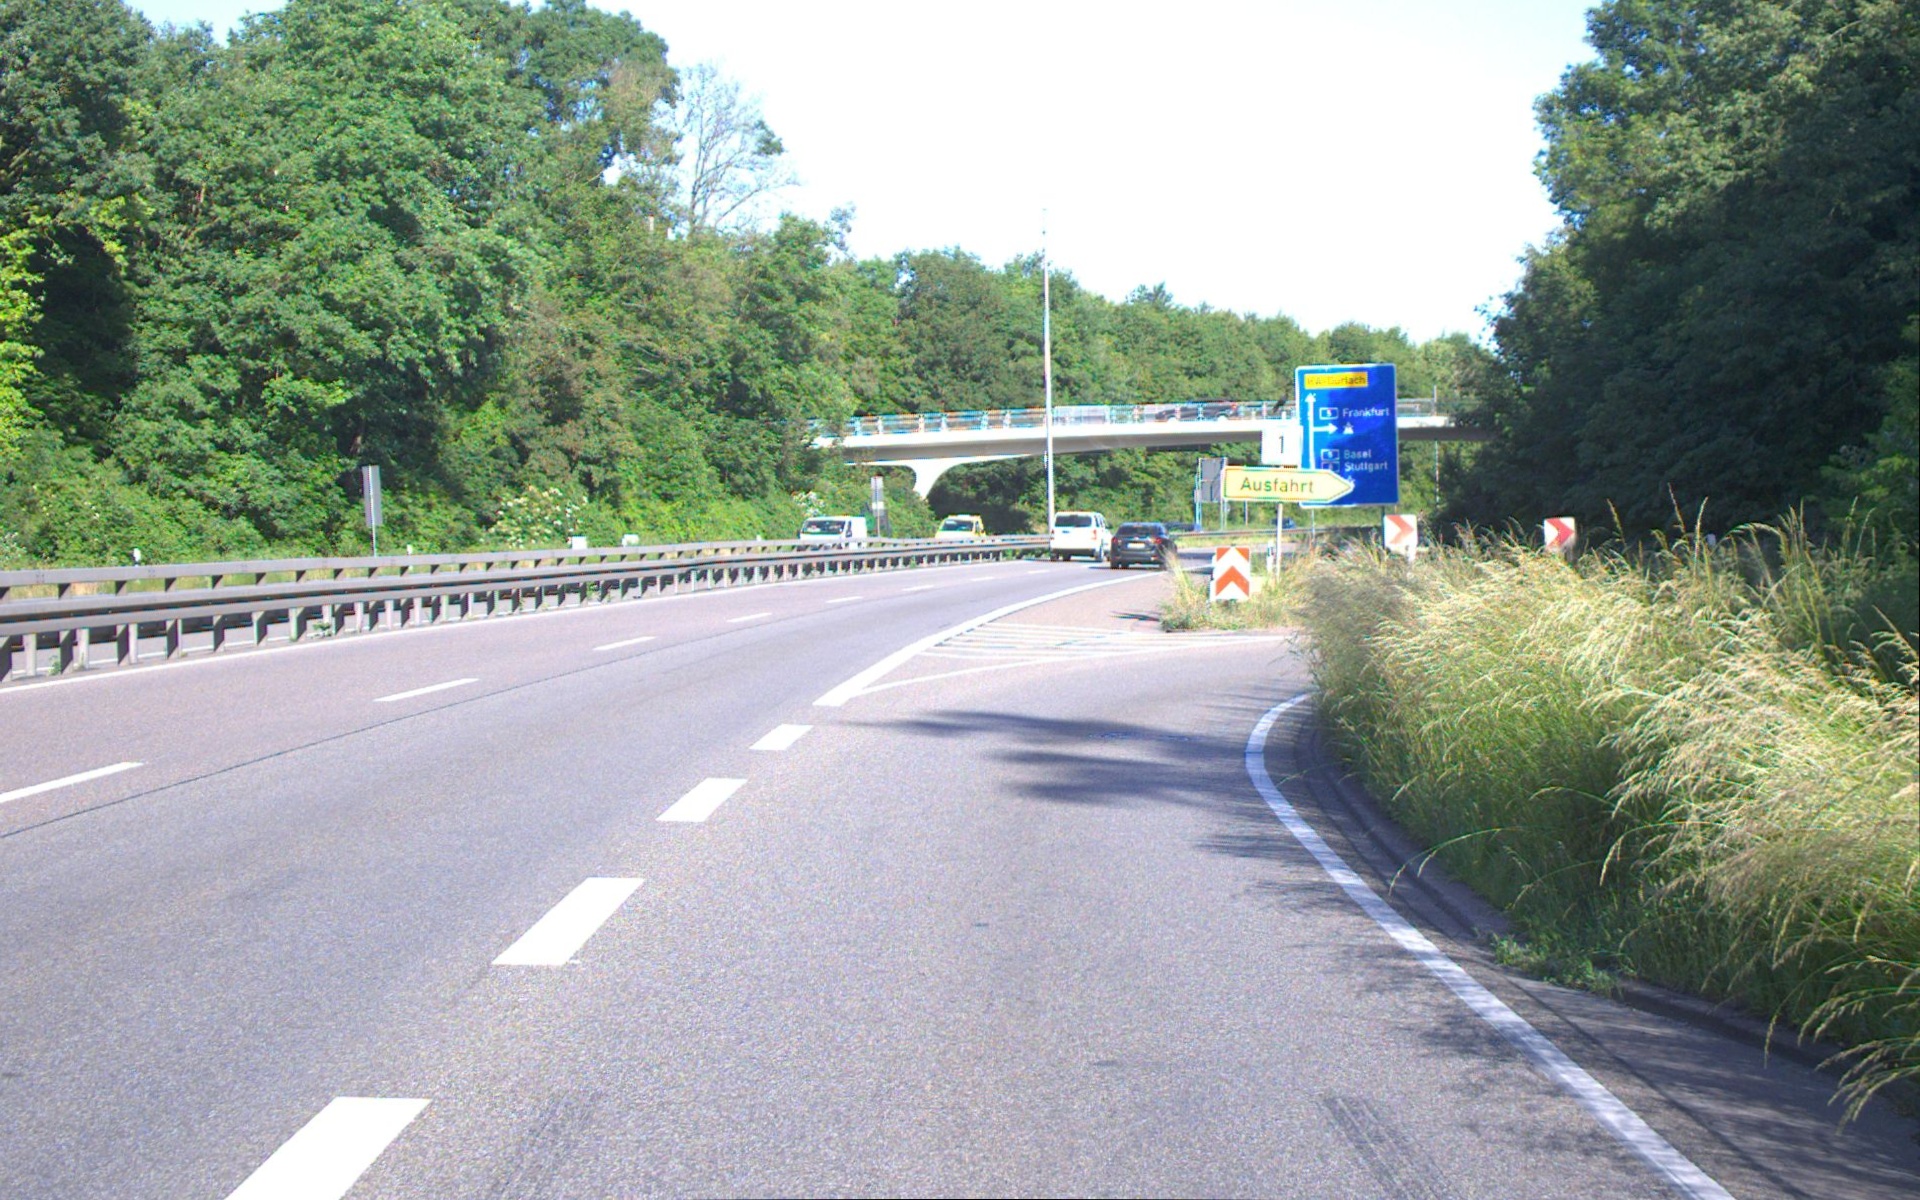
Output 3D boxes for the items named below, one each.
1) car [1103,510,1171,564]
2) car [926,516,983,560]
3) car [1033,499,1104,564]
[{"bbox_3d":[5.598,-1.994,108.360,1.740,1.656,3.944,-1,1,8],"label":"car"},{"bbox_3d":[-0.237,-2.871,158.757,1.994,2.007,3.999,-1,1,10],"label":"car"},{"bbox_3d":[3.878,-2.432,122.156,1.994,2.270,3.999,-1,1,9],"label":"car"}]
